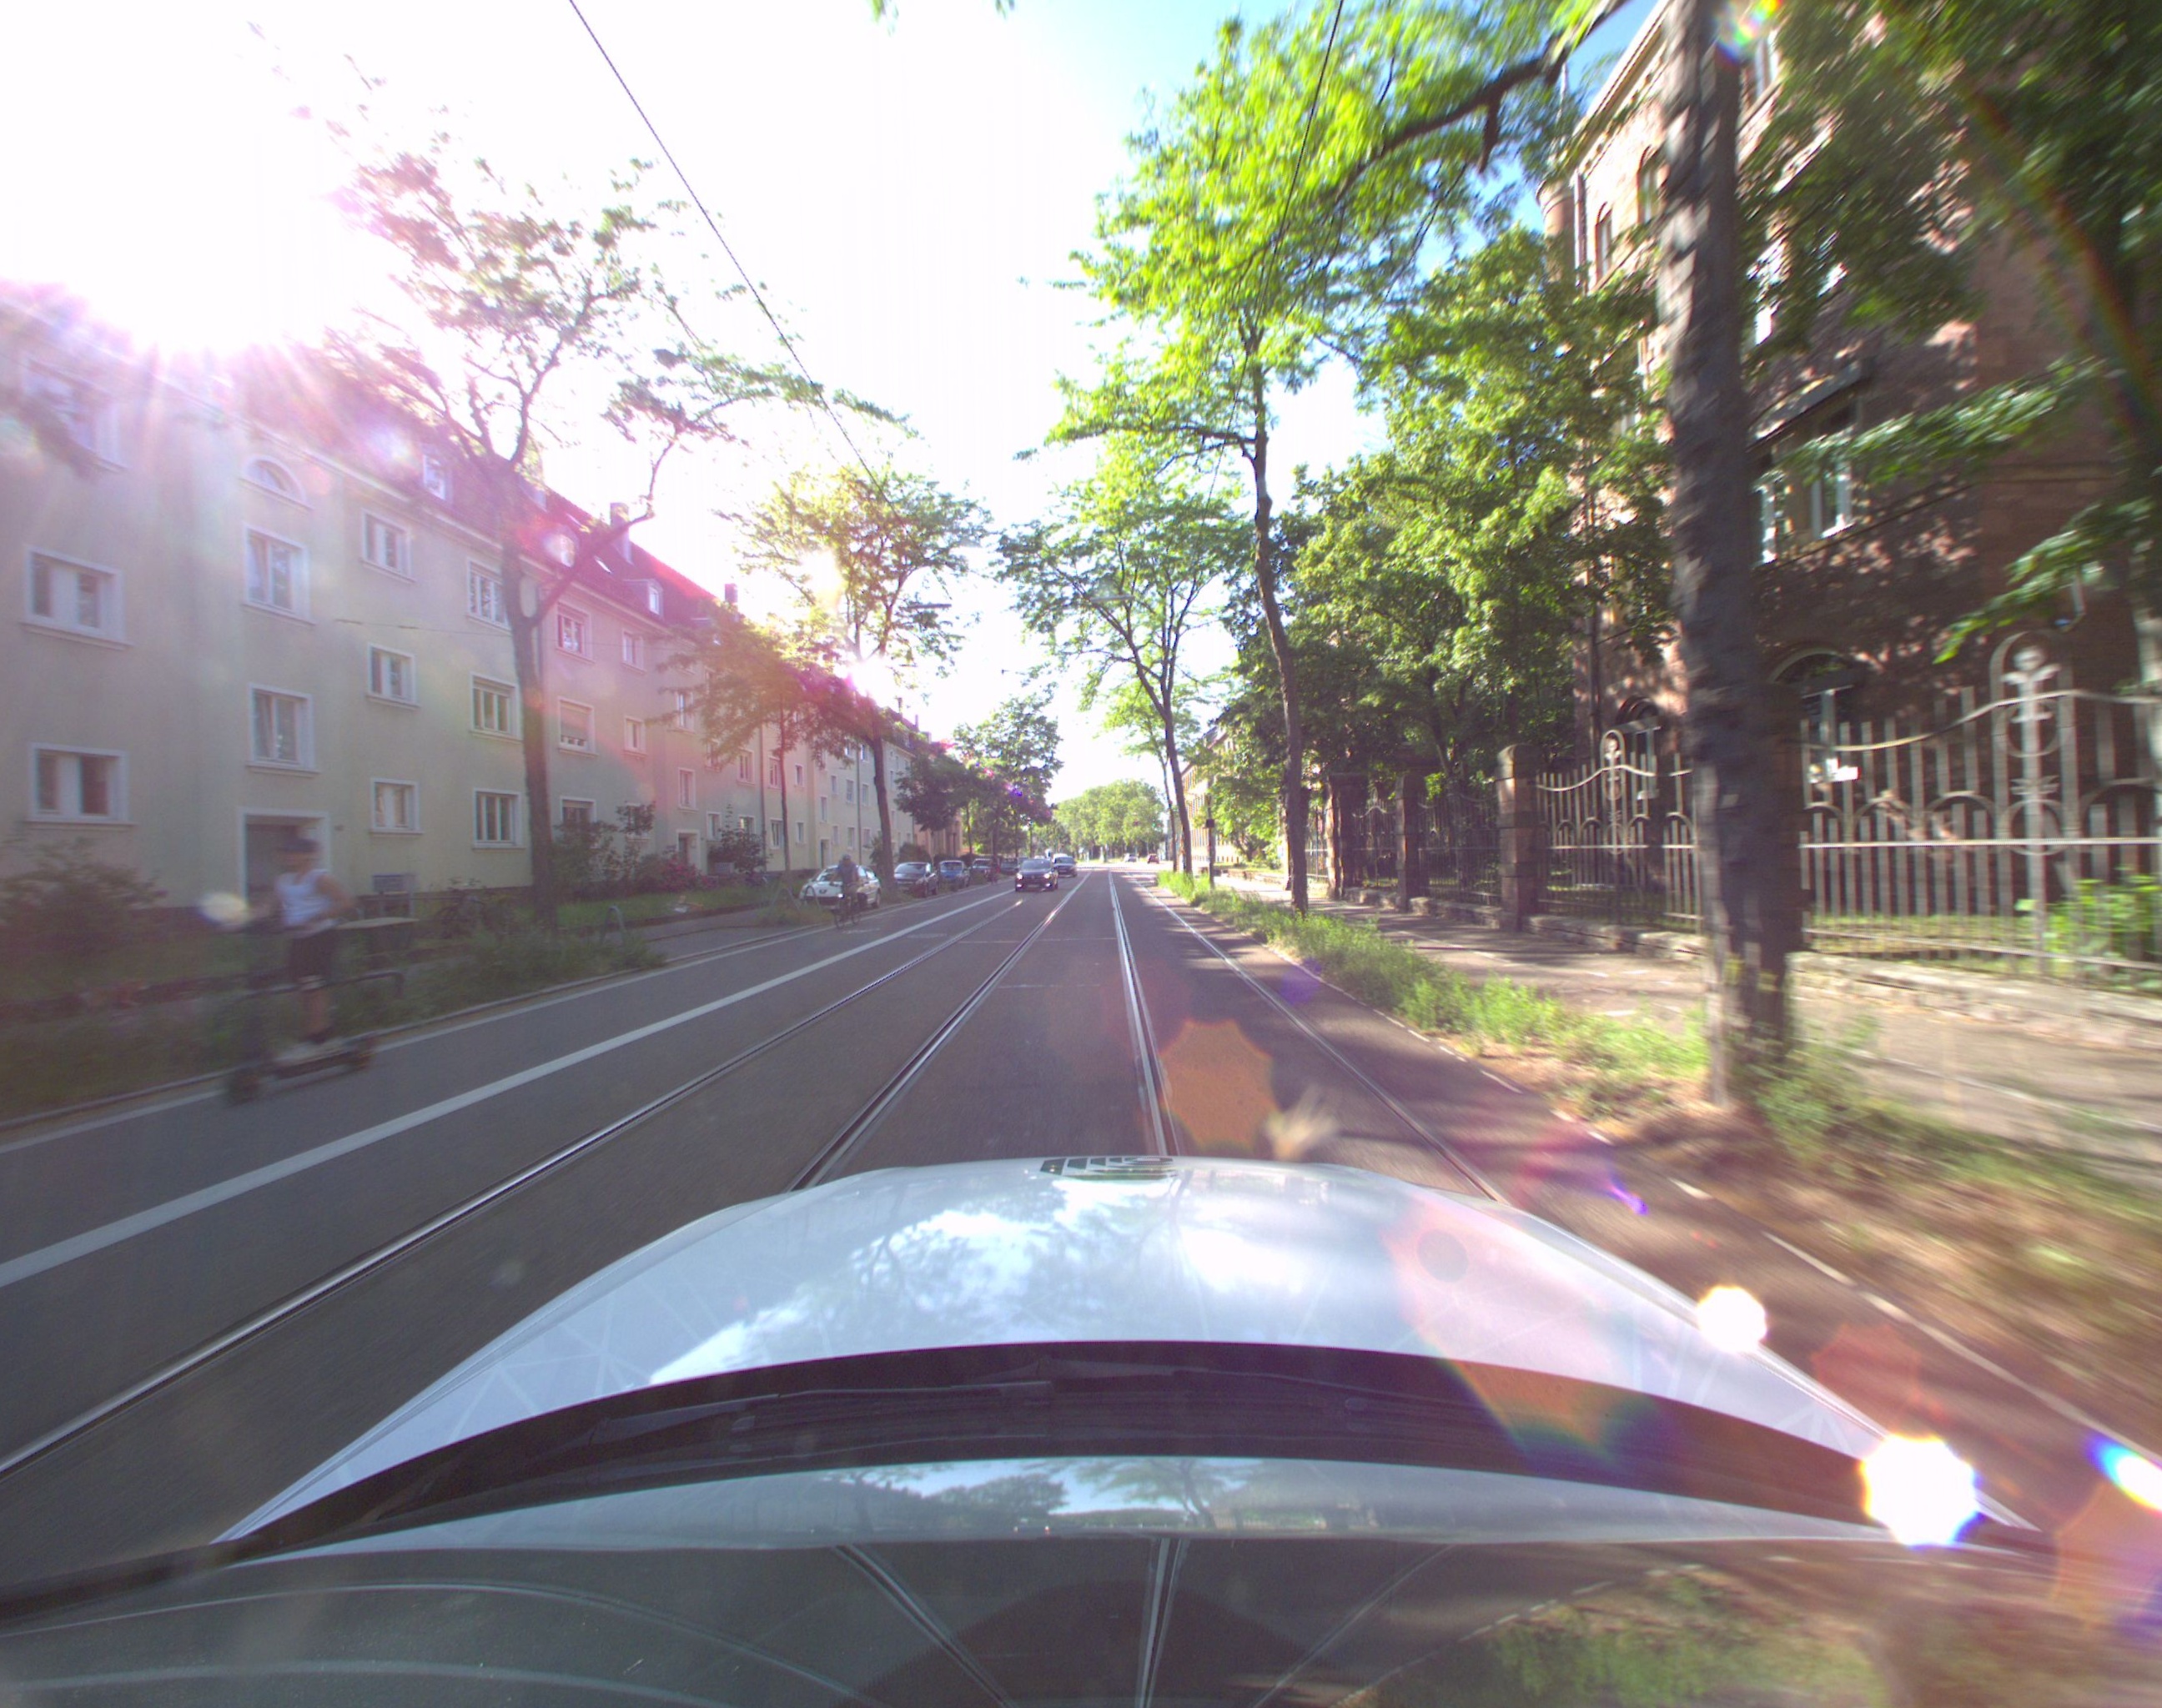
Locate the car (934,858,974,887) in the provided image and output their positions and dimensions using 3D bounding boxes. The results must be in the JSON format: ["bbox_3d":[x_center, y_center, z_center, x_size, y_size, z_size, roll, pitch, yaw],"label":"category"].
[{"bbox_3d":[-6.939,0.992,44.735,1.555,1.457,3.930,1,0,0],"label":"car"}]

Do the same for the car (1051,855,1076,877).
[{"bbox_3d":[-1.230,0.854,59.095,1.693,1.471,4.071,-1,0,0],"label":"car"}]

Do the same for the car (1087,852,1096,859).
[{"bbox_3d":[2.572,0.379,208.549,1.939,1.610,3.995,-2,0,-4],"label":"car"}]

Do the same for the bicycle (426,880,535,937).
[{"bbox_3d":[-12.826,1.154,17.420,1.901,1.177,0.522,0,0,-1],"label":"bicycle"}]

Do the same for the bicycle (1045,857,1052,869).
[{"bbox_3d":[-3.391,0.955,84.245,0.556,1.198,2.291,-5,0,-1],"label":"bicycle"}]

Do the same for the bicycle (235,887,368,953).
[{"bbox_3d":[-14.331,1.203,14.995,1.901,1.177,0.522,0,0,-1],"label":"bicycle"}]

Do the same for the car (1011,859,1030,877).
[{"bbox_3d":[-5.996,1.361,81.103,1.741,1.660,4.386,1,0,-3],"label":"car"}]

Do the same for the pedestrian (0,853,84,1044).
[{"bbox_3d":[-10.556,0.902,7.910,0.689,1.801,0.813,-2,0,1],"label":"pedestrian"}]

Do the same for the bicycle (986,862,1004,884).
[{"bbox_3d":[-5.059,1.123,48.075,0.692,1.177,1.914,-4,0,2],"label":"bicycle"}]

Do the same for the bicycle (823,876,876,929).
[{"bbox_3d":[-5.733,1.173,20.249,0.624,1.177,1.914,-4,0,2],"label":"bicycle"}]

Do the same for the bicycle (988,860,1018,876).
[{"bbox_3d":[-6.066,1.086,63.297,2.271,1.198,0.561,1,1,8],"label":"bicycle"}]

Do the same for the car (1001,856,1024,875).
[{"bbox_3d":[-6.110,1.013,72.867,1.740,1.569,4.068,1,0,-1],"label":"car"}]

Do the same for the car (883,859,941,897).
[{"bbox_3d":[-7.270,1.007,35.314,1.681,1.485,3.760,1,0,1],"label":"car"}]

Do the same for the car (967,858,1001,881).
[{"bbox_3d":[-6.682,1.050,56.398,1.739,1.490,4.324,1,0,1],"label":"car"}]

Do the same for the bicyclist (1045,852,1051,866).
[{"bbox_3d":[-3.423,0.533,84.368,0.556,1.456,0.869,-5,0,-1],"label":"bicyclist"}]

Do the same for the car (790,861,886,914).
[{"bbox_3d":[-7.653,1.001,26.070,1.696,1.485,4.080,1,0,2],"label":"car"}]

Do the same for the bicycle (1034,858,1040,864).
[{"bbox_3d":[-7.946,1.203,146.719,0.750,1.087,2.167,-1,0,-13],"label":"bicycle"}]

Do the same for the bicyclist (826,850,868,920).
[{"bbox_3d":[-5.768,0.751,20.106,0.624,1.639,0.940,-4,0,2],"label":"bicyclist"}]

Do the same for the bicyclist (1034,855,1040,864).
[{"bbox_3d":[-7.946,0.977,146.676,0.750,1.504,0.960,-1,0,-14],"label":"bicyclist"}]

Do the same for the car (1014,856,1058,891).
[{"bbox_3d":[-1.972,0.843,37.020,1.693,1.439,4.071,-1,0,0],"label":"car"}]

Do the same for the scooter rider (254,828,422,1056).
[{"bbox_3d":[-5.974,0.667,6.591,0.495,1.699,0.787,-5,0,2],"label":"scooter rider"}]

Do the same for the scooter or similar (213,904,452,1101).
[{"bbox_3d":[-5.937,1.112,6.567,0.518,1.297,1.378,-5,0,2],"label":"scooter or similar"}]

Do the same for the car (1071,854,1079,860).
[{"bbox_3d":[-1.711,0.782,224.132,1.938,1.610,3.995,-2,0,-3],"label":"car"}]

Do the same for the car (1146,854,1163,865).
[{"bbox_3d":[11.452,0.846,126.756,1.825,1.655,3.595,-2,0,16],"label":"car"}]

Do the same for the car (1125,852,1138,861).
[{"bbox_3d":[9.165,0.440,148.848,1.939,1.610,3.995,-2,0,-4],"label":"car"}]

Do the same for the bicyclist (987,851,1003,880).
[{"bbox_3d":[-5.092,0.667,48.083,0.707,1.607,0.865,-4,0,1],"label":"bicyclist"}]
